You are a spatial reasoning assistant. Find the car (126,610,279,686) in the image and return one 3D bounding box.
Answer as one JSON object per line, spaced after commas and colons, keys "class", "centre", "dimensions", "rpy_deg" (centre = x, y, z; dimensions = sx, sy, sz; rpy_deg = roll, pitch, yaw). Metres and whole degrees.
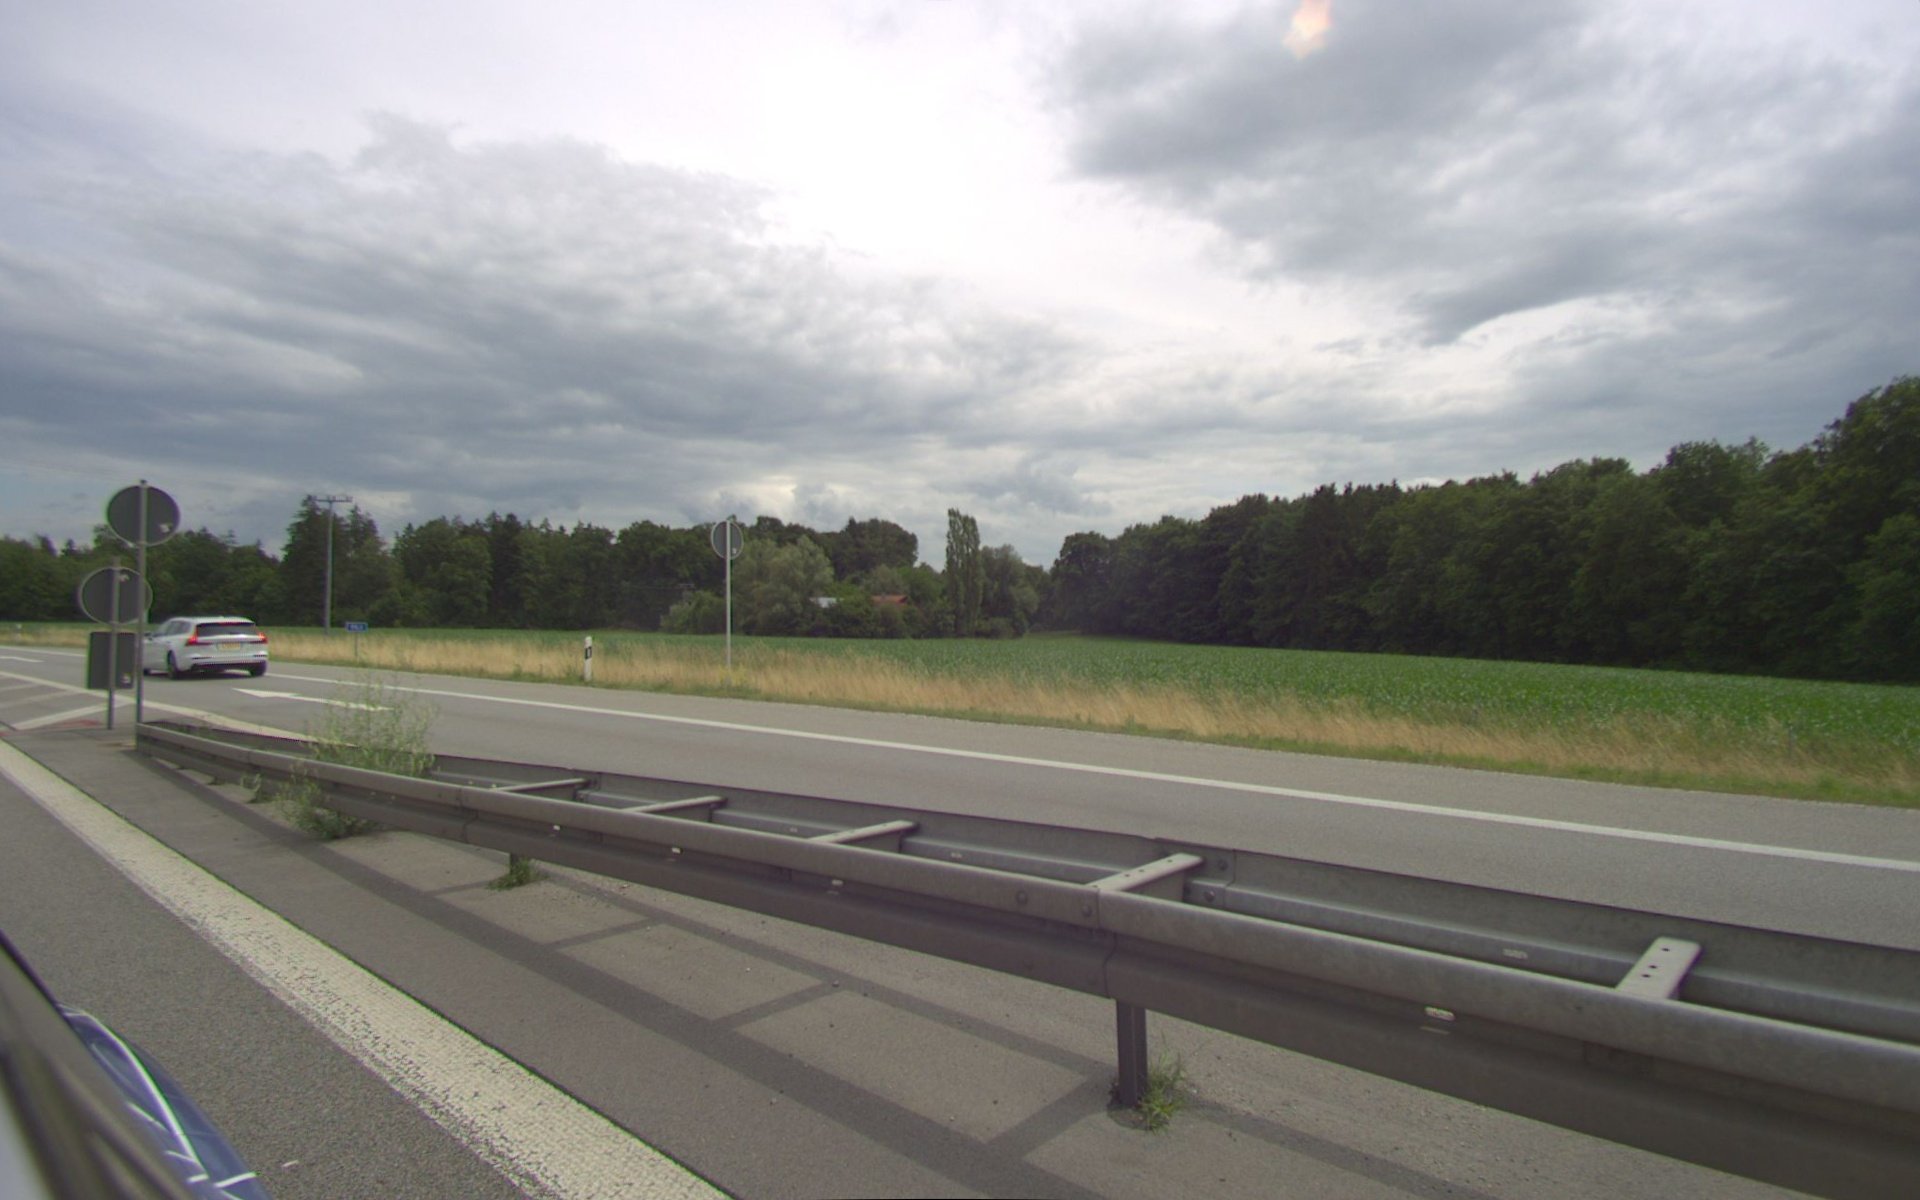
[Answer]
{"class": "car", "centre": [-18.348, 1.077, 24.433], "dimensions": [4.595, 1.644, 1.800], "rpy_deg": [0, 0, 38]}
